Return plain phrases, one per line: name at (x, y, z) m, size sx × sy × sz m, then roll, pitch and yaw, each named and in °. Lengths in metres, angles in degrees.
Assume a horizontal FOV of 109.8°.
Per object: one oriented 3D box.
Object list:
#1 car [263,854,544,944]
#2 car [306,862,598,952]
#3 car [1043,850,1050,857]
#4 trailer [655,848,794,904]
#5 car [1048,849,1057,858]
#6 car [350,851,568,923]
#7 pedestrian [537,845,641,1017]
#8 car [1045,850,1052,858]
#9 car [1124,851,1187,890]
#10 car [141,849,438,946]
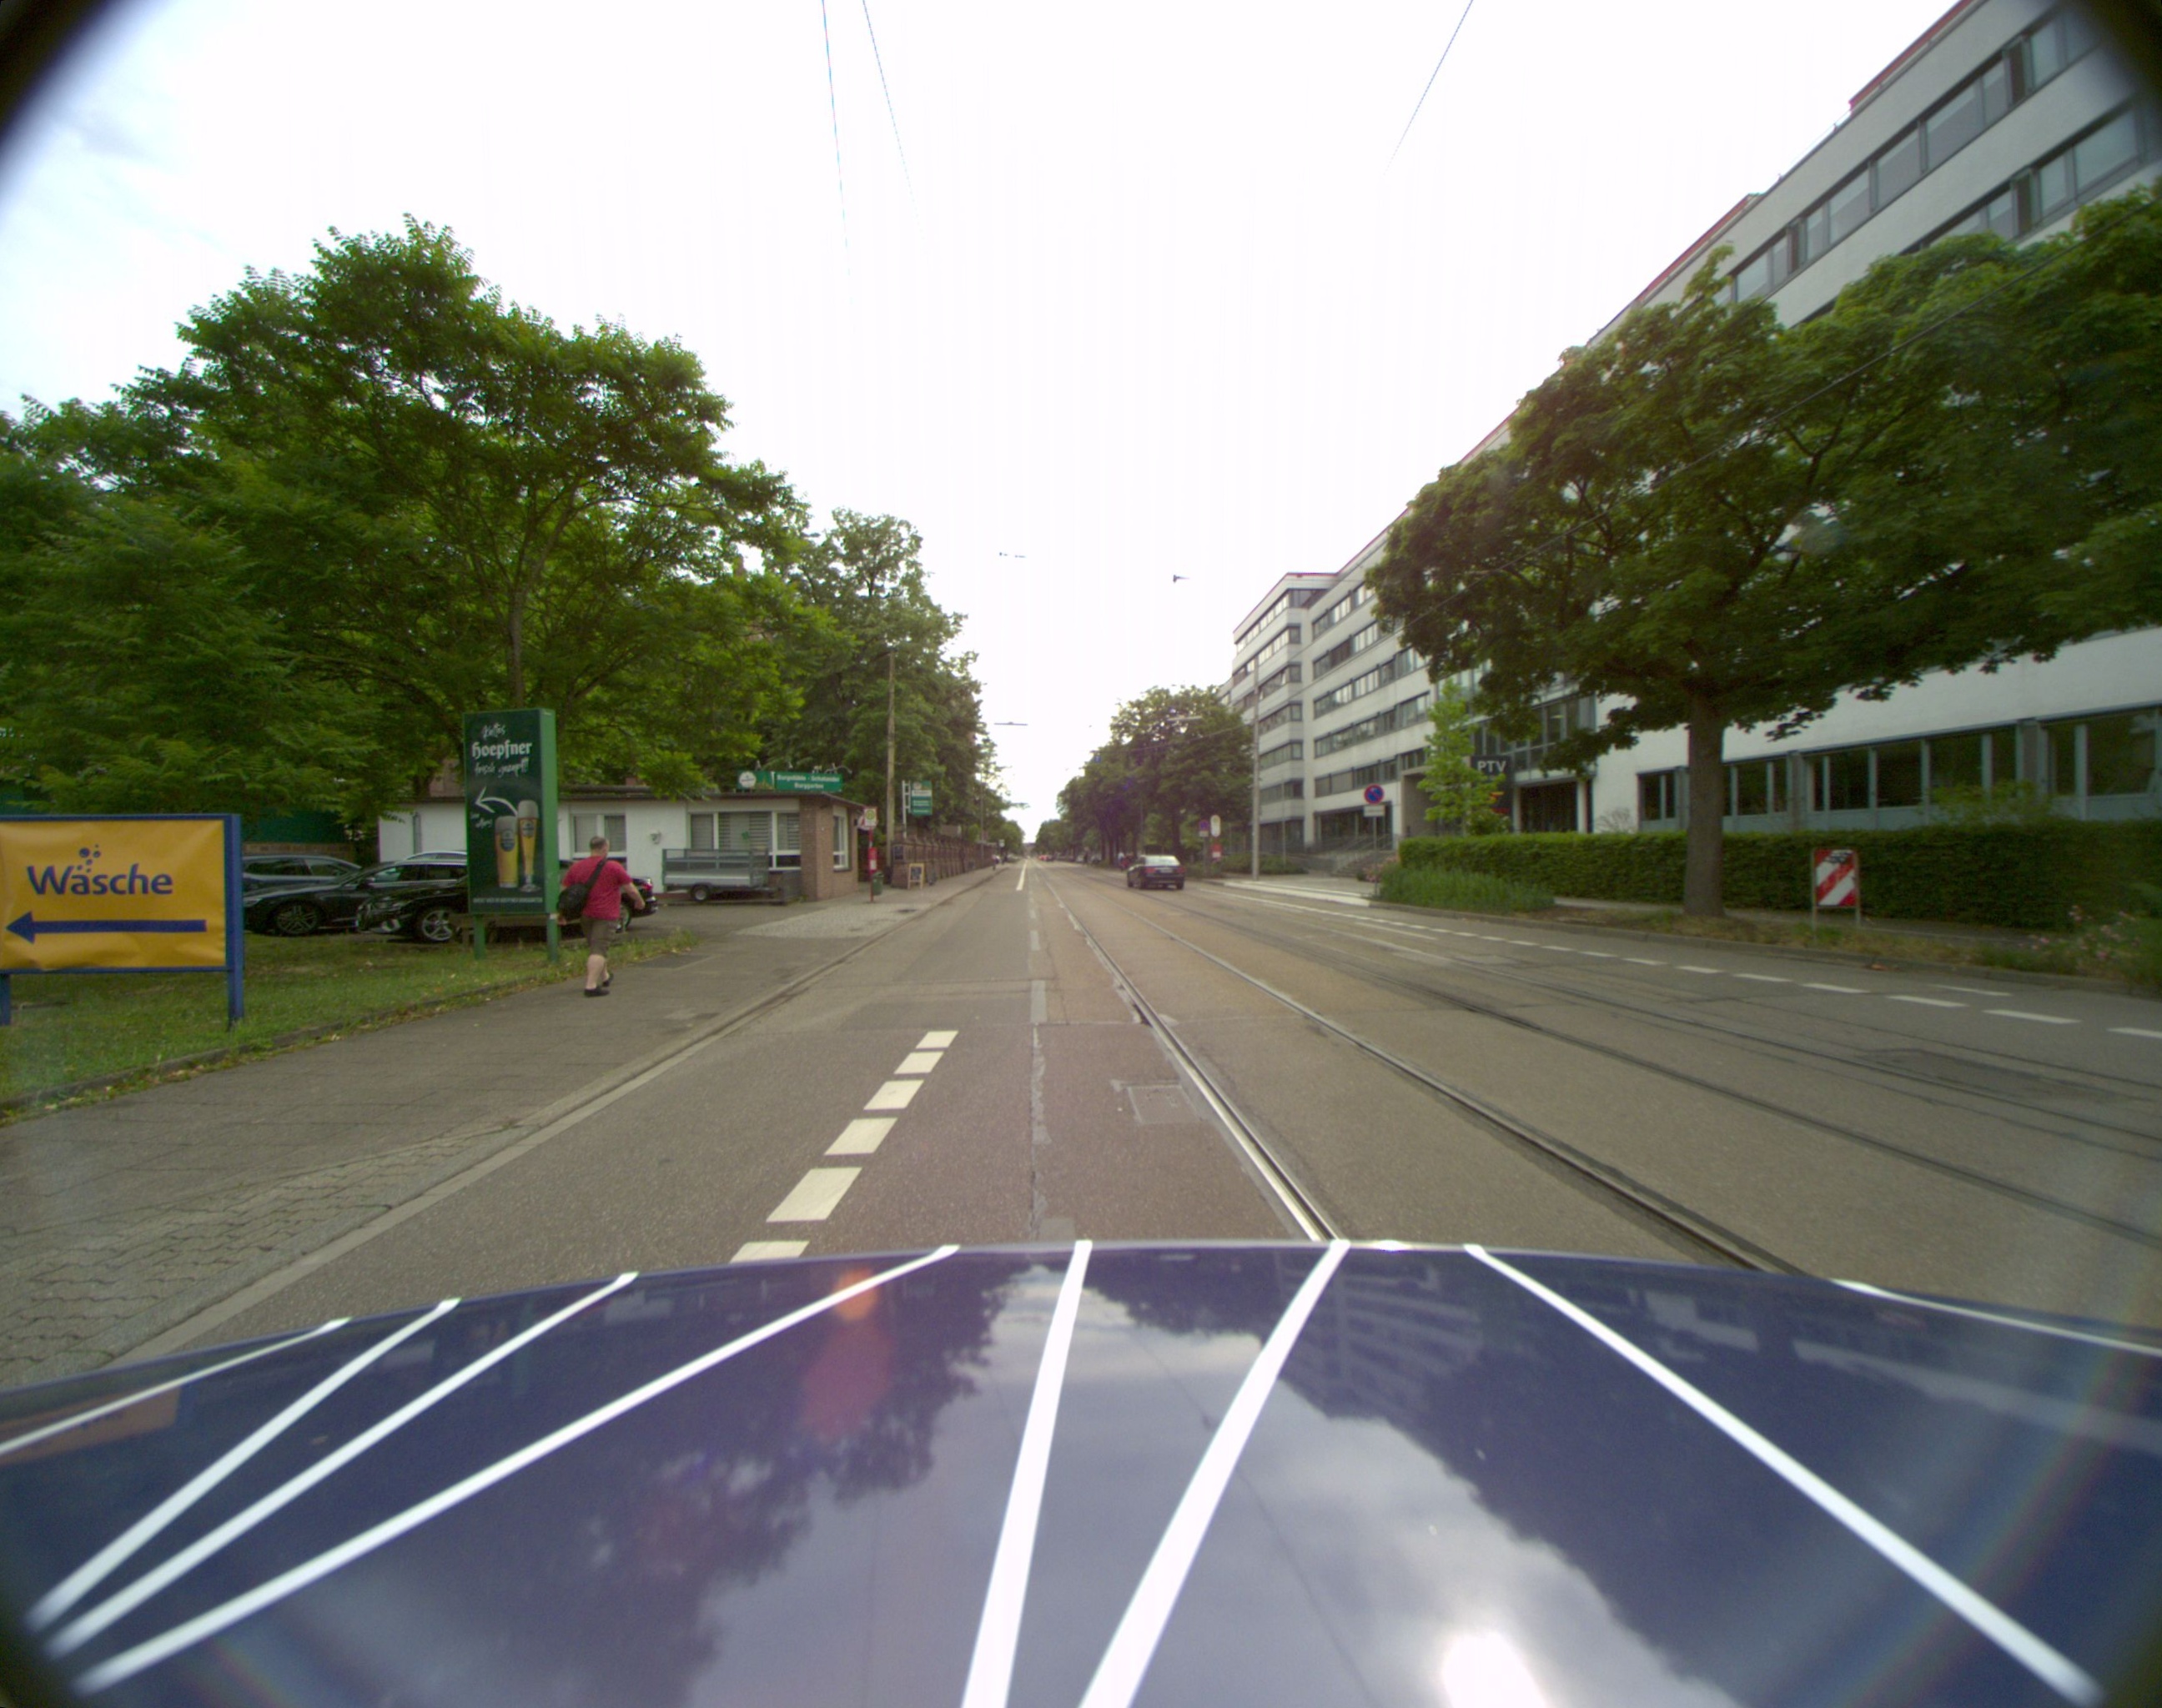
car at (-13.826, 0.825, 15.730) m, size 1.822 × 1.509 × 4.007 m, roll -1°, pitch 1°, yaw 37°
car at (-11.308, 0.863, 14.120) m, size 1.998 × 1.281 × 3.999 m, roll -2°, pitch 1°, yaw 1°
car at (-10.459, -0.089, 232.671) m, size 1.999 × 2.002 × 3.999 m, roll -2°, pitch 1°, yaw -2°
trailer at (-10.507, 0.631, 22.584) m, size 3.291 × 1.523 × 1.773 m, roll 0°, pitch 3°, yaw -3°
car at (-6.957, -0.197, 186.169) m, size 1.998 × 2.002 × 3.999 m, roll -2°, pitch 1°, yaw 1°
car at (-16.377, 0.816, 20.198) m, size 3.998 × 1.657 × 1.999 m, roll -2°, pitch 1°, yaw -3°
pedestrian at (-5.337, 0.791, 8.302) m, size 0.871 × 1.738 × 0.849 m, roll 1°, pitch 1°, yaw -29°
car at (-9.426, 0.017, 219.552) m, size 1.999 × 2.002 × 3.999 m, roll -2°, pitch 1°, yaw -2°
car at (3.163, 0.668, 33.161) m, size 1.802 × 1.537 × 4.477 m, roll -2°, pitch 1°, yaw -6°
car at (-16.554, 0.811, 16.110) m, size 1.807 × 1.686 × 4.033 m, roll -1°, pitch 1°, yaw 33°
